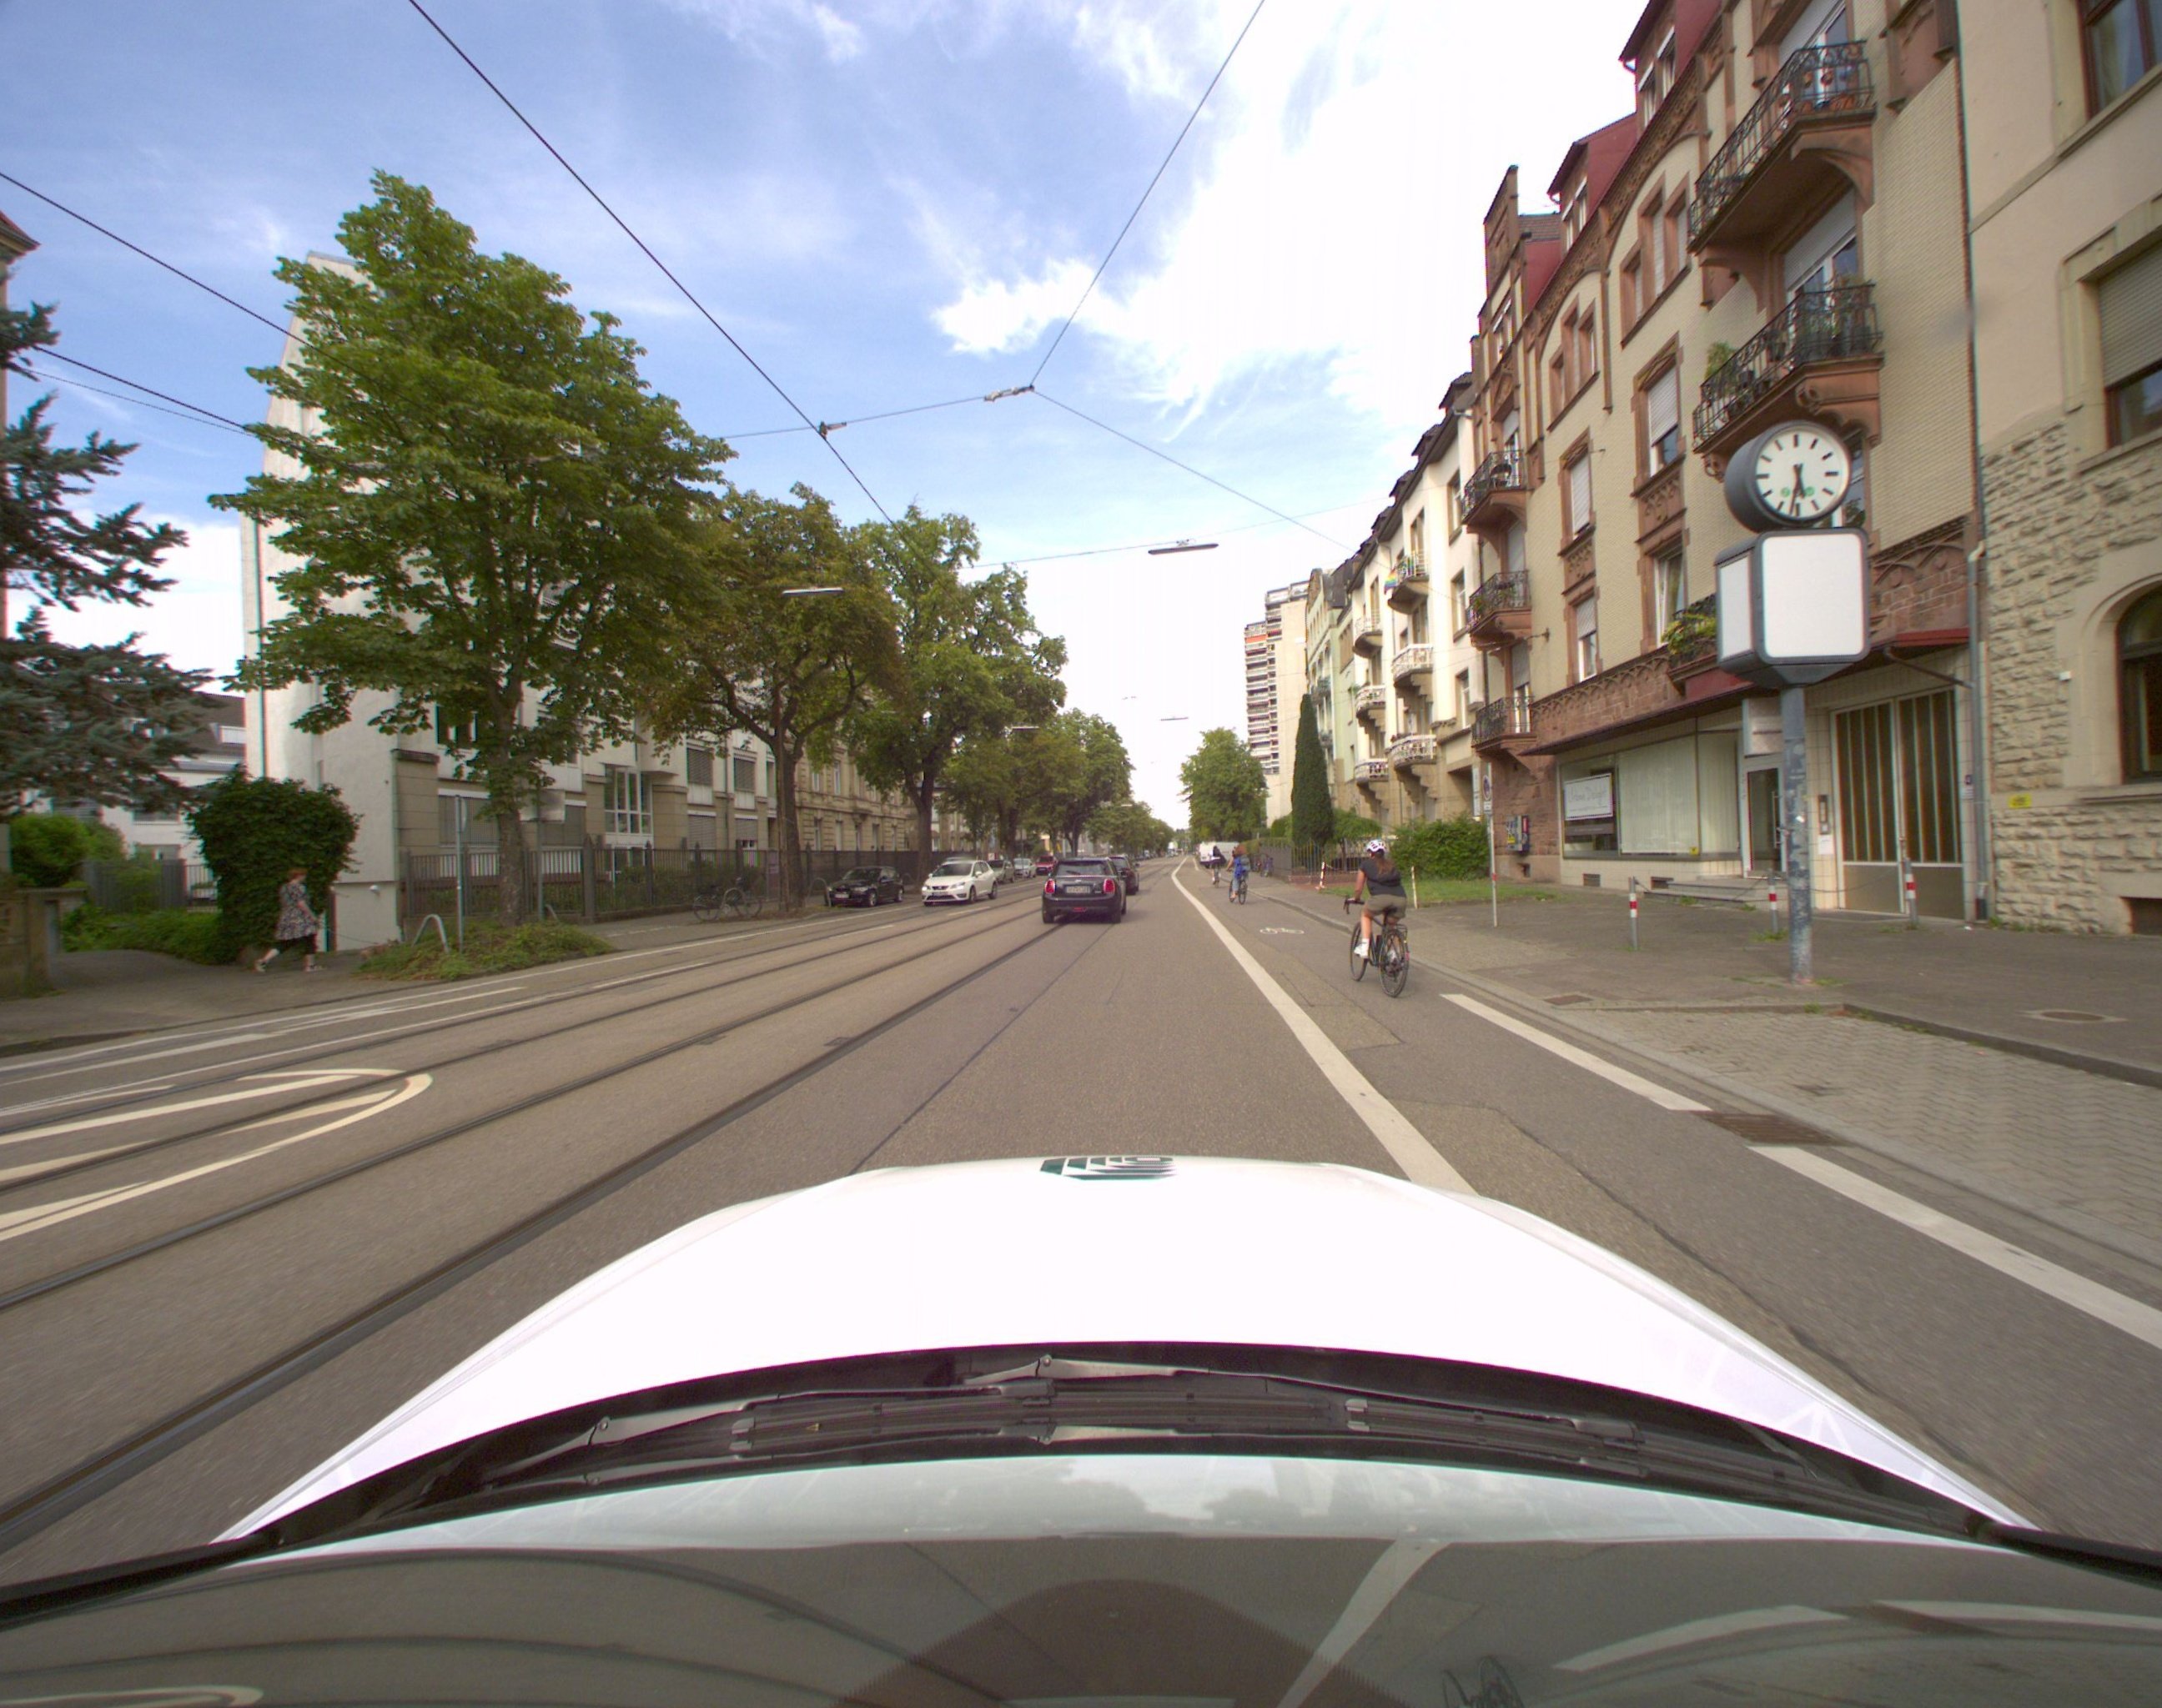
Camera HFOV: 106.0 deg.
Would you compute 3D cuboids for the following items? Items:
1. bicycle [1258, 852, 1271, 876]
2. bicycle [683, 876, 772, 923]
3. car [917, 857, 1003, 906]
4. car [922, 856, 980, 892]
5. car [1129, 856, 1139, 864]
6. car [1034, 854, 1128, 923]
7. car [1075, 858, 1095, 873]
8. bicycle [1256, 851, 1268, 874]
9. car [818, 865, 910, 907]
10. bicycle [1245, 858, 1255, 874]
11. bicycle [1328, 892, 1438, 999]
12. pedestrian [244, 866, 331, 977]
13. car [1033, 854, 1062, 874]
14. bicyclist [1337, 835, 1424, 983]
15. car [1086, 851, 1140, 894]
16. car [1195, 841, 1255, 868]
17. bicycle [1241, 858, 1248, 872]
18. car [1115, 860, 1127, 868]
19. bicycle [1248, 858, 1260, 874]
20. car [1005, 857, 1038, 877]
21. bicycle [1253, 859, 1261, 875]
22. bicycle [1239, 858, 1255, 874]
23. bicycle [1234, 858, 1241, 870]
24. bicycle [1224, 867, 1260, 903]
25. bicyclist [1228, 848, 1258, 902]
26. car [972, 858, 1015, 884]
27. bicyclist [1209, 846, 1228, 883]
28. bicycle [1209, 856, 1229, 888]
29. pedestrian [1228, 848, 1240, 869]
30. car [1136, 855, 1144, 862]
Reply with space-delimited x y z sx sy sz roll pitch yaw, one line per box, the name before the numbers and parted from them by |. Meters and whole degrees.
bicycle | 8.772 0.459 38.866 0.389 1.103 1.763 -3 -1 8
bicycle | -9.808 1.242 22.632 2.240 1.175 0.828 -1 0 -26
car | -4.054 0.888 27.880 1.561 1.416 4.012 -4 -1 11
car | -6.463 0.966 40.948 1.701 1.673 4.366 -2 0 7
car | 11.287 1.275 173.470 1.793 1.583 4.039 -3 -1 7
car | 0.120 0.718 18.898 1.784 1.423 4.006 0 0 6
car | 0.450 1.263 91.841 1.746 1.647 4.060 -1 0 7
bicycle | 9.232 0.409 41.551 0.389 1.142 1.925 -3 -1 8
car | -7.959 1.134 30.267 1.710 1.424 4.176 0 0 9
bicycle | 10.227 0.712 49.316 0.482 0.907 1.670 -3 -1 11
bicycle | 3.366 0.975 9.270 0.635 0.981 2.074 -1 0 5
pedestrian | -12.890 1.080 13.245 0.702 1.735 0.701 -1 -1 3
car | -2.792 0.812 68.958 1.712 1.655 4.551 0 0 7
bicyclist | 3.353 0.586 9.215 0.635 1.570 1.112 -1 -1 5
car | 1.232 0.640 29.719 1.785 1.470 4.005 0 0 4
car | 12.786 0.033 72.224 4.980 2.290 2.359 -1 -1 -36
bicycle | 11.190 0.766 55.602 0.383 0.907 1.670 -3 -1 12
car | 7.118 1.749 143.539 1.793 1.374 4.039 -3 -1 7
bicycle | 10.084 0.710 47.531 0.483 0.907 1.668 -3 -1 8
car | -4.348 0.964 60.238 1.712 1.424 4.031 0 0 7
bicycle | 9.879 0.733 45.726 0.276 0.852 1.200 -3 -1 8
bicycle | 10.442 0.763 51.220 0.485 0.907 1.662 -3 -1 -4
bicycle | 12.249 0.779 63.810 0.384 0.907 1.845 -3 -1 6
bicycle | 4.583 0.855 23.330 0.686 0.962 2.037 -1 0 2
bicyclist | 4.553 0.581 22.948 0.645 1.470 0.801 -2 0 1
car | -5.242 0.988 49.245 1.592 1.468 4.087 -2 0 7
bicyclist | 5.596 0.438 33.167 0.654 1.463 1.180 -1 0 6
bicycle | 5.599 0.719 33.125 0.654 1.249 2.128 -1 0 6
pedestrian | 12.675 0.372 67.442 0.781 1.733 0.898 -4 -1 7
car | 13.958 1.163 192.524 1.793 1.583 4.039 -3 -1 7
